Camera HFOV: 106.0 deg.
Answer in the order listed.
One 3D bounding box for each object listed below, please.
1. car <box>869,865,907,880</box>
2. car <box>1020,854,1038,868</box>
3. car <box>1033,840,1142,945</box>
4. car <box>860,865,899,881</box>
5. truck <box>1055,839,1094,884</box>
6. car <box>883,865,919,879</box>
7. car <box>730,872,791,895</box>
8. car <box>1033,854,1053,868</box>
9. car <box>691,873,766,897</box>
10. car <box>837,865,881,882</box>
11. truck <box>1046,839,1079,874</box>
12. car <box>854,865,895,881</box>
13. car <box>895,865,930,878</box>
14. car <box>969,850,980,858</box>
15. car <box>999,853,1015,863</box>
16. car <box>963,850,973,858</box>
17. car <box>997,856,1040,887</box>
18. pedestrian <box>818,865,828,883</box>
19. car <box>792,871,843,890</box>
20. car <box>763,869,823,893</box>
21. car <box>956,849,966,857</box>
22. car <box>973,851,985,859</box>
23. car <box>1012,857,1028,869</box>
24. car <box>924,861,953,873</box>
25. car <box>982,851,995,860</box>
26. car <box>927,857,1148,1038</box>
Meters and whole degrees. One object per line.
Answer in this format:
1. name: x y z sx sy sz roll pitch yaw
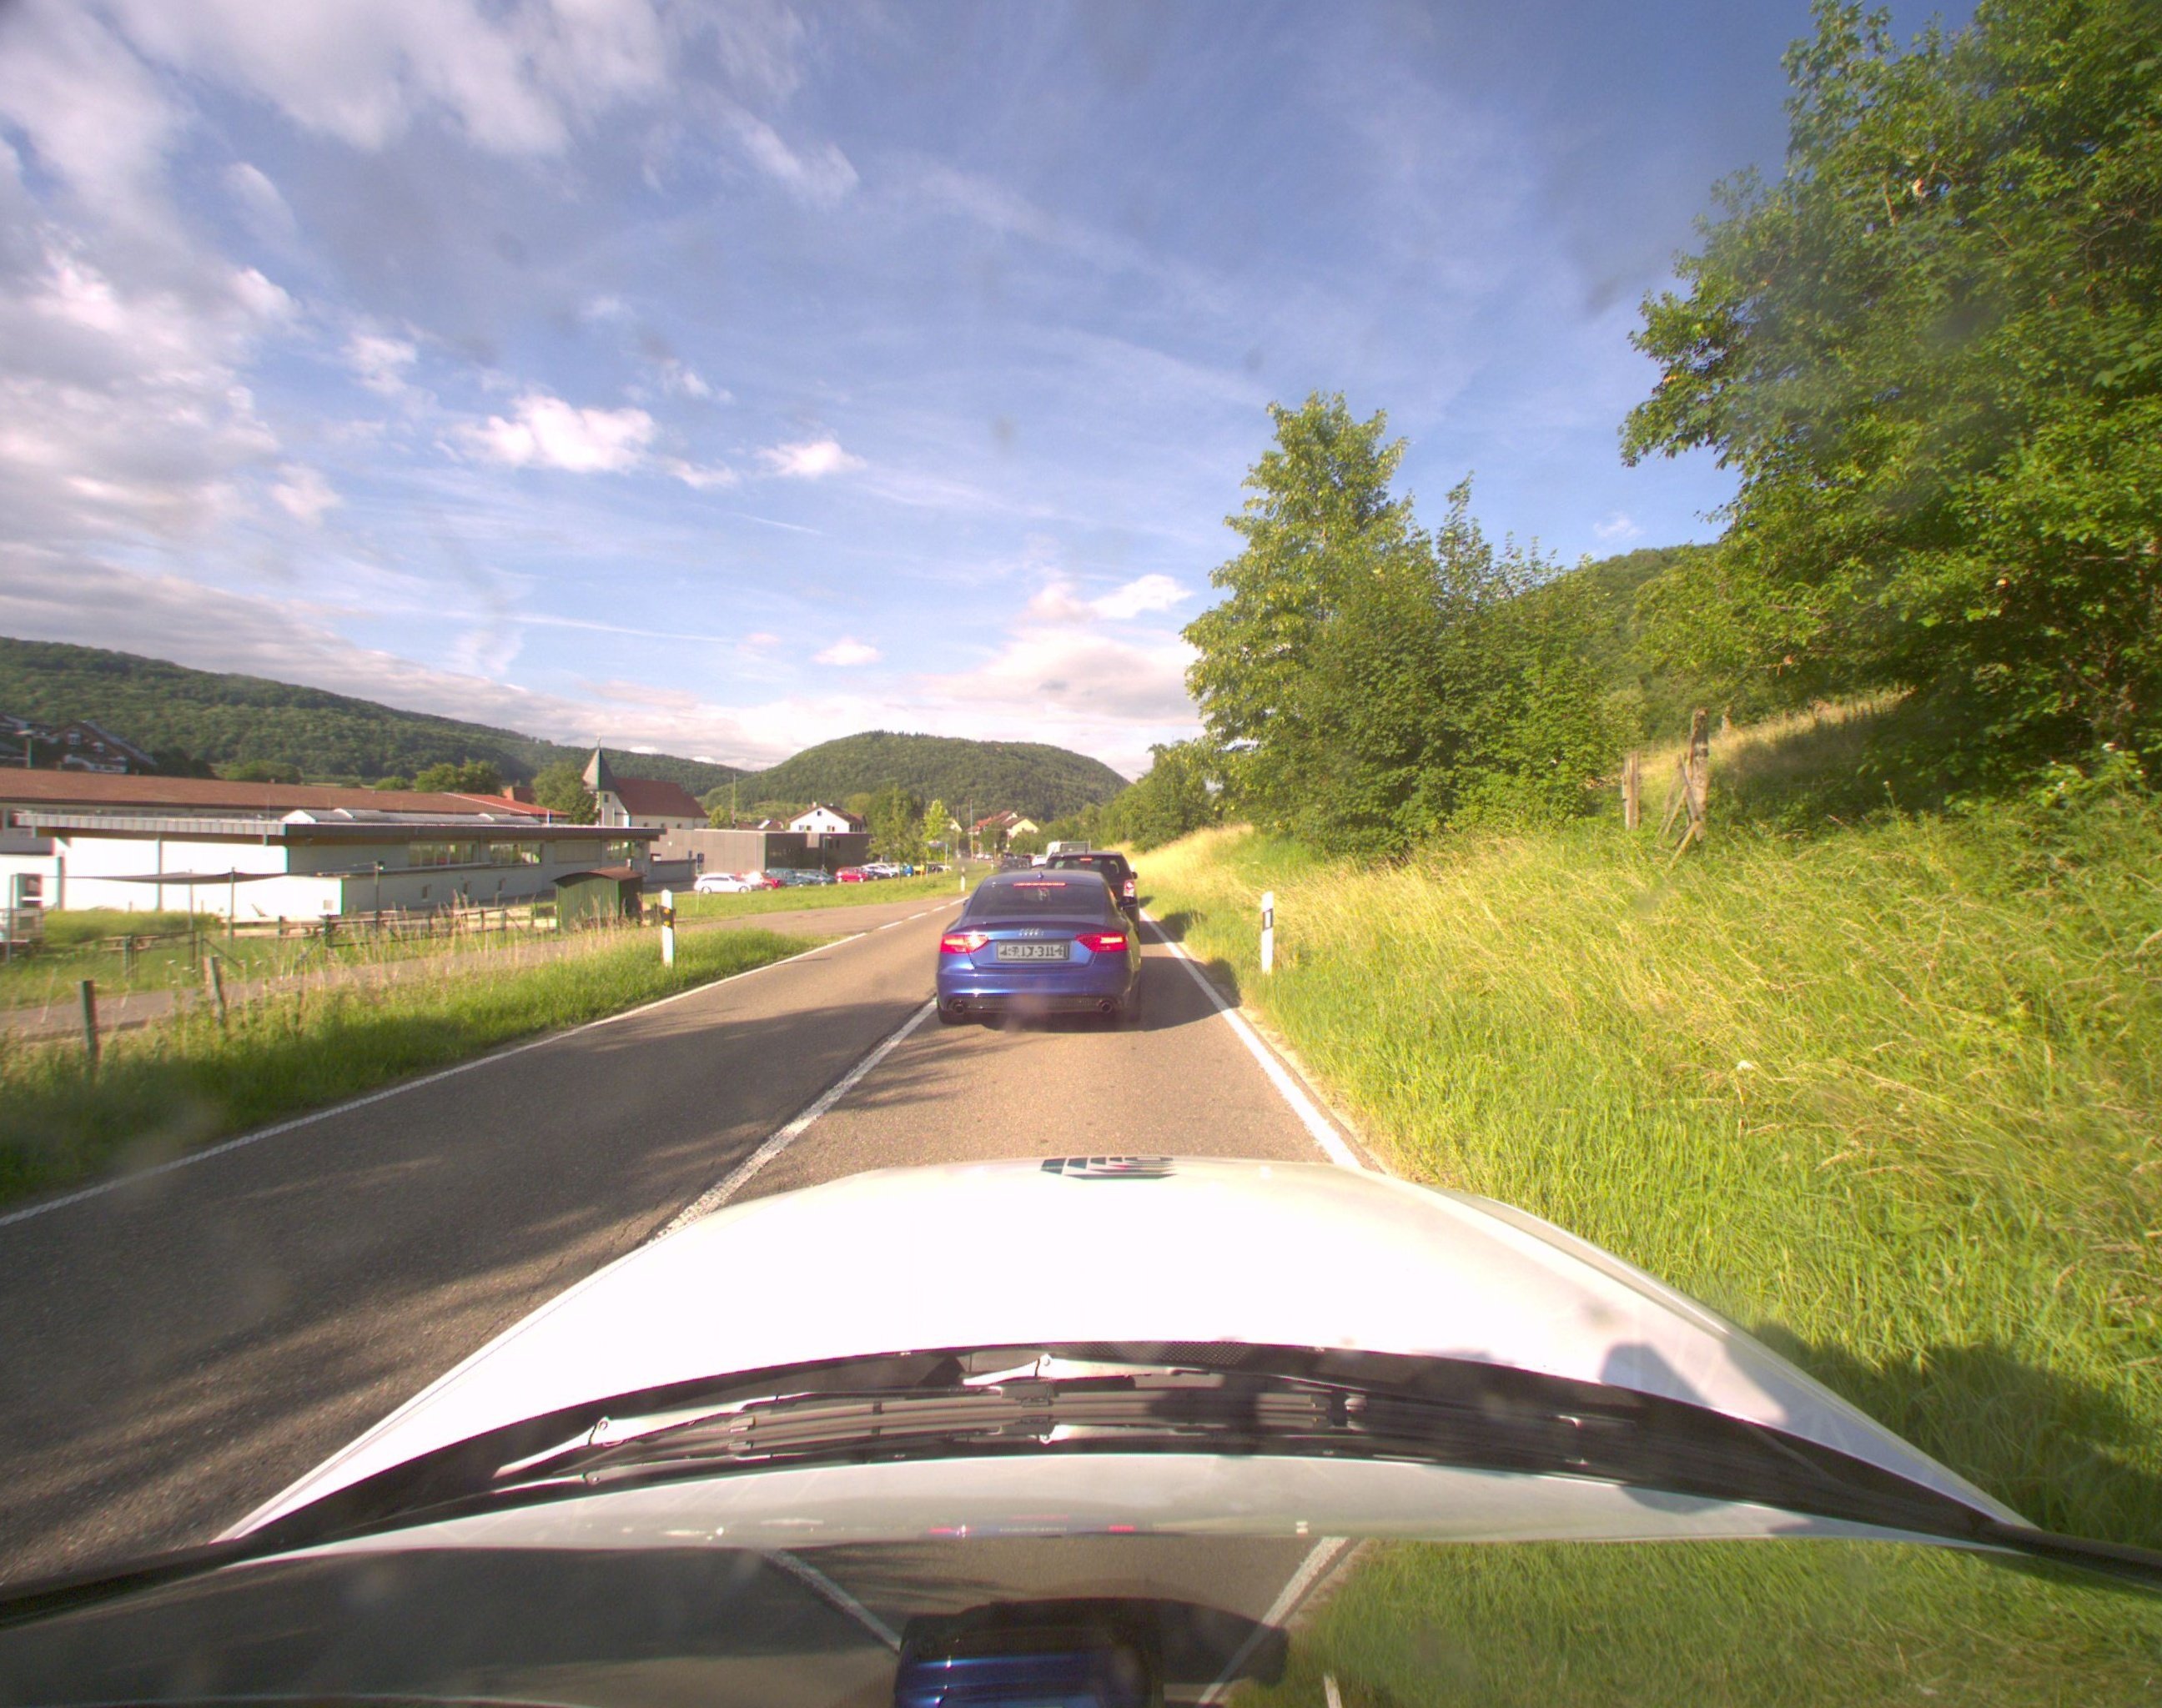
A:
1. car: -22.799 2.161 96.258 3.975 1.711 1.999 0 -1 -1
2. car: -6.706 0.944 104.698 1.845 1.712 3.987 0 -1 -9
3. car: 0.194 0.636 15.030 1.747 1.681 3.849 0 -1 3
4. car: -23.006 2.134 92.976 3.975 1.711 1.999 0 -1 -1
5. truck: -0.418 0.462 50.545 2.223 2.570 6.101 0 -1 -1
6. car: -22.553 2.210 102.043 3.975 1.711 1.999 0 -1 -1
7. car: -25.205 2.316 64.192 3.975 1.711 1.999 0 -1 -1
8. car: -4.282 0.812 91.901 1.845 1.482 3.987 0 -1 -9
9. car: -26.428 2.300 61.211 4.716 1.711 1.999 0 -1 -1
10. car: -23.092 2.063 84.768 3.975 1.711 1.999 0 -1 -1
11. truck: -1.540 0.215 63.909 2.226 2.570 6.697 0 -1 -4
12. car: -22.647 2.099 89.309 3.975 1.711 1.999 0 -1 -1
13. car: -21.638 2.226 104.697 3.975 1.711 1.999 0 -1 -1
14. car: -23.006 0.053 175.413 1.849 1.712 3.978 0 -1 -16
15. car: -12.250 0.649 134.349 1.849 1.712 3.979 0 -1 -16
16. car: -26.009 0.061 186.996 1.849 1.712 3.978 0 -1 -16
17. car: -3.051 0.849 40.519 1.698 1.430 4.052 0 -1 2
18. pedestrian: -29.100 2.232 91.960 0.822 2.014 0.973 0 -1 1
19. car: -24.089 2.398 74.486 3.975 1.711 1.999 0 -1 -1
20. car: -24.704 2.295 69.996 4.393 2.008 1.999 0 -1 -1
21. car: -29.024 -0.194 196.307 1.850 1.712 3.978 0 -1 -16
22. car: -20.676 0.194 165.709 1.849 1.712 3.978 0 -1 -16
23. car: -9.152 1.355 122.285 1.846 1.712 3.985 0 -1 -11
24. car: -20.806 1.904 119.255 3.975 1.579 1.752 0 -1 -1
25. car: -17.739 0.241 156.217 1.849 1.712 3.979 0 -1 -15
26. car: -0.253 0.761 8.386 1.747 1.430 3.849 0 -1 3
